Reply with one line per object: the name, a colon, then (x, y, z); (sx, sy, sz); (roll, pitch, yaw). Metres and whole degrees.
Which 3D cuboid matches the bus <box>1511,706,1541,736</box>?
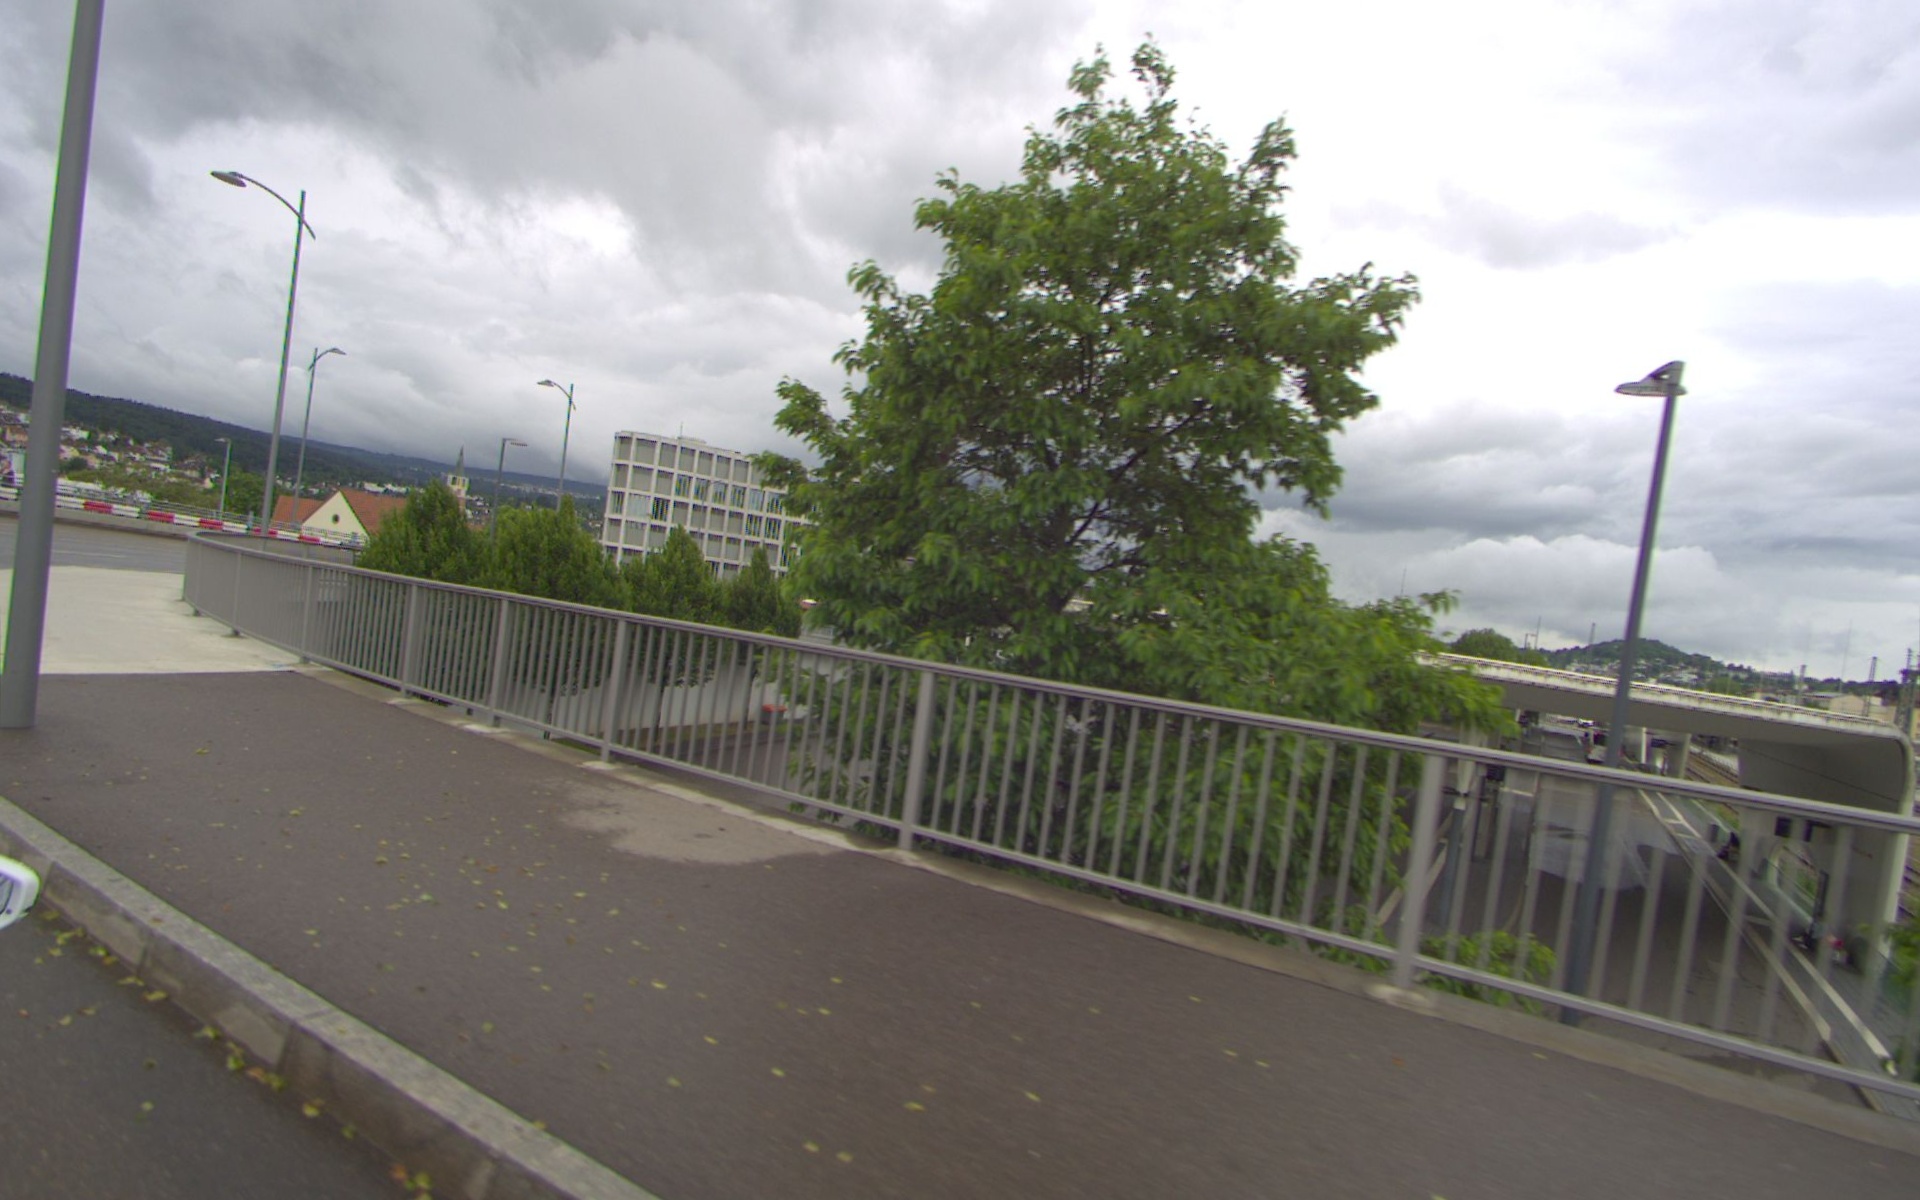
bus: (71.476, 15.260, 126.911); (2.566, 3.248, 6.980); (9, -1, 33)
